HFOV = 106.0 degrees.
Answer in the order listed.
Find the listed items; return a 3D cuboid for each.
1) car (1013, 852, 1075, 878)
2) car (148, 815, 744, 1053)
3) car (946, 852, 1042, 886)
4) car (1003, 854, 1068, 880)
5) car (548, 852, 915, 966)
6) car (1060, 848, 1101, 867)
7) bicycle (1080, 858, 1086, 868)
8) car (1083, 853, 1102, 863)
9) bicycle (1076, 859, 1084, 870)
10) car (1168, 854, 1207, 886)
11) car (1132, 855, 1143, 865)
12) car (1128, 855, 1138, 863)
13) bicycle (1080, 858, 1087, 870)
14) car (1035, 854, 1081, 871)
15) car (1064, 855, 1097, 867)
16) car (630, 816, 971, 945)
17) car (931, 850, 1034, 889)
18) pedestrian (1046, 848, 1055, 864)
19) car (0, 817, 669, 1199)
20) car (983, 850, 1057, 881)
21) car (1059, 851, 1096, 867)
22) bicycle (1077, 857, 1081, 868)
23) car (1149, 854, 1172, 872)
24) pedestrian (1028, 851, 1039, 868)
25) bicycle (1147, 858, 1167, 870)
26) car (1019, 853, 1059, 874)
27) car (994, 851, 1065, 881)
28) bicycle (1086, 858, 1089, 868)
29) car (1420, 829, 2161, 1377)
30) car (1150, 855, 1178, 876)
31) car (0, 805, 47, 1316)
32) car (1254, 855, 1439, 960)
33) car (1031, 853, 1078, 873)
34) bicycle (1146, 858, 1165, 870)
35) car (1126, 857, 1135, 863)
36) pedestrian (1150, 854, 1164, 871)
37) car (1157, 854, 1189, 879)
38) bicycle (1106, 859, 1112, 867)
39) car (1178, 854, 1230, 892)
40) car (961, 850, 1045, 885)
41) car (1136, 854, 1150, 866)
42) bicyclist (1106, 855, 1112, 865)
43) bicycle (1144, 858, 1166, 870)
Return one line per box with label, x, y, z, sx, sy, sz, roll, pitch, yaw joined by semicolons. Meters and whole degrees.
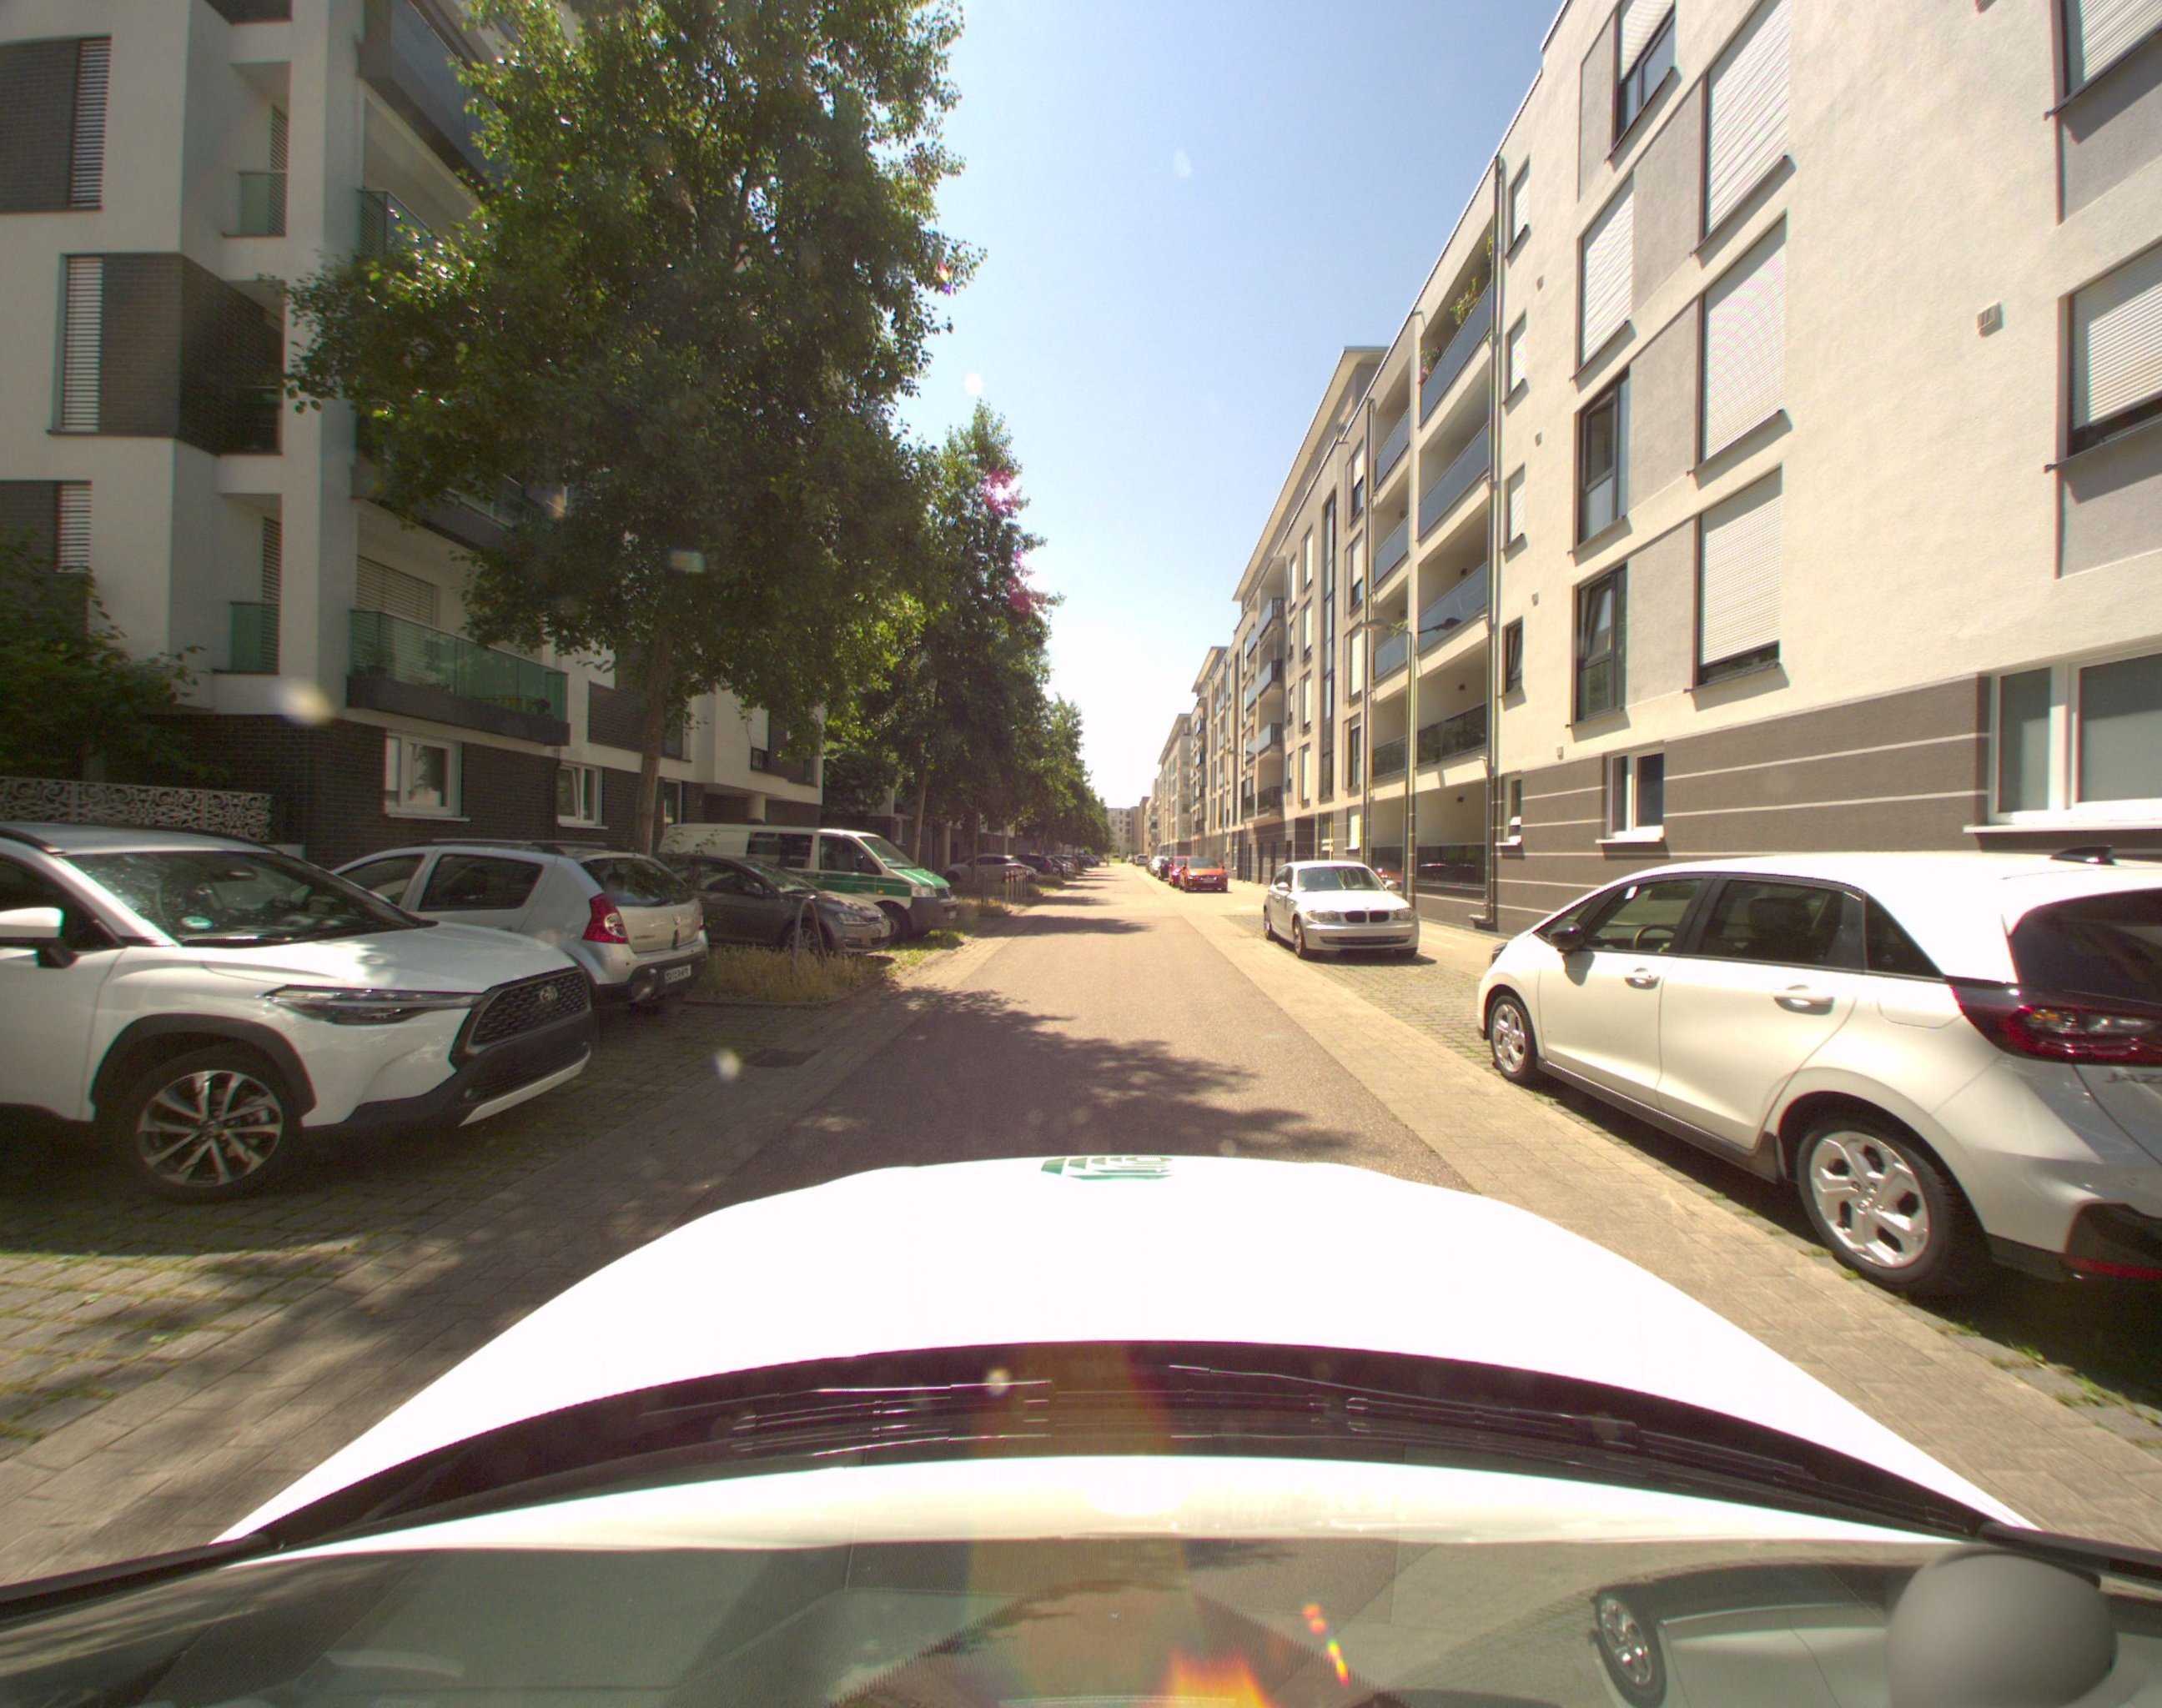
car;-2.614;0.768;58.603;4.346;1.710;2.000;-1;0;0
car;-5.199;0.600;7.088;3.666;1.676;1.853;2;0;1
car;-4.129;0.701;38.975;4.299;1.476;1.794;2;0;2
car;-2.837;0.811;51.586;3.963;1.445;1.774;2;0;-2
car;-4.829;0.732;11.777;4.405;1.490;2.000;0;0;0
car;-0.094;0.518;122.733;6.000;2.816;2.607;0;0;2
bicycle;0.201;1.067;99.951;0.569;1.174;1.766;3;1;-4
car;2.616;0.902;181.548;3.964;2.014;2.005;0;0;9
bicycle;-0.087;1.048;81.426;0.434;1.128;1.972;0;0;-9
car;5.190;0.750;40.097;1.589;1.485;3.678;-1;0;3
car;9.475;0.977;137.096;1.749;1.552;4.006;1;0;6
car;11.817;1.108;185.626;1.986;1.675;4.001;0;0;1
bicycle;0.274;1.020;81.442;0.371;1.180;1.815;0;0;-9
car;-2.067;0.799;74.080;4.169;1.486;1.958;1;-1;-2
car;-0.046;0.938;110.095;4.366;1.515;2.076;2;0;2
car;-4.837;0.426;14.624;5.318;2.110;2.190;0;0;4
car;-4.367;0.670;36.534;4.236;1.517;1.925;3;0;2
pedestrian;-3.964;0.212;104.873;1.004;2.014;1.131;0;0;5
car;-5.073;0.631;4.442;4.547;1.594;1.964;2;0;-3
car;-3.432;0.630;46.432;3.971;1.629;1.934;2;0;2
car;-0.474;0.708;117.307;5.125;2.119;2.313;1;0;2
bicycle;-0.230;1.034;99.973;0.432;1.204;1.701;2;1;3
car;6.794;0.777;69.554;1.732;1.485;4.232;-1;0;3
pedestrian;-4.920;0.569;83.927;0.995;1.690;0.833;0;0;4
bicycle;7.059;0.935;75.884;1.838;1.148;0.458;-1;-1;-17
car;-3.264;0.720;64.051;2.922;1.500;1.849;3;0;1
car;-3.069;0.701;48.947;3.969;1.651;1.920;2;0;4
bicycle;0.800;1.124;100.149;0.464;1.141;1.926;0;0;1
car;3.604;0.679;4.389;1.801;1.505;4.261;-1;0;0
car;6.233;0.817;61.244;1.826;1.505;4.353;-1;0;3
car;-5.470;0.584;1.820;3.962;1.629;1.952;2;0;4
car;4.118;0.748;13.395;1.838;1.416;4.430;1;0;3
car;-2.296;0.760;71.188;3.922;1.553;1.873;2;0;2
bicycle;7.156;0.949;78.246;1.850;1.193;0.688;-1;-1;5
car;12.929;1.596;212.845;1.986;1.717;4.001;0;0;1
pedestrian;7.052;0.758;75.428;1.177;1.515;0.686;-1;0;-8
car;5.597;0.740;49.864;1.636;1.462;4.120;-1;0;2
bicycle;4.029;1.308;117.118;0.895;1.129;2.041;0;0;2
car;5.144;0.761;34.556;1.730;1.487;4.261;-1;0;3
car;-3.956;0.667;41.533;3.970;1.591;1.885;2;0;3
car;8.896;0.817;116.982;1.989;1.657;4.118;0;0;3
bicyclist;4.016;0.881;117.086;0.950;1.459;0.800;0;0;2
bicycle;6.944;0.963;76.254;1.911;1.133;0.611;-1;-1;11
